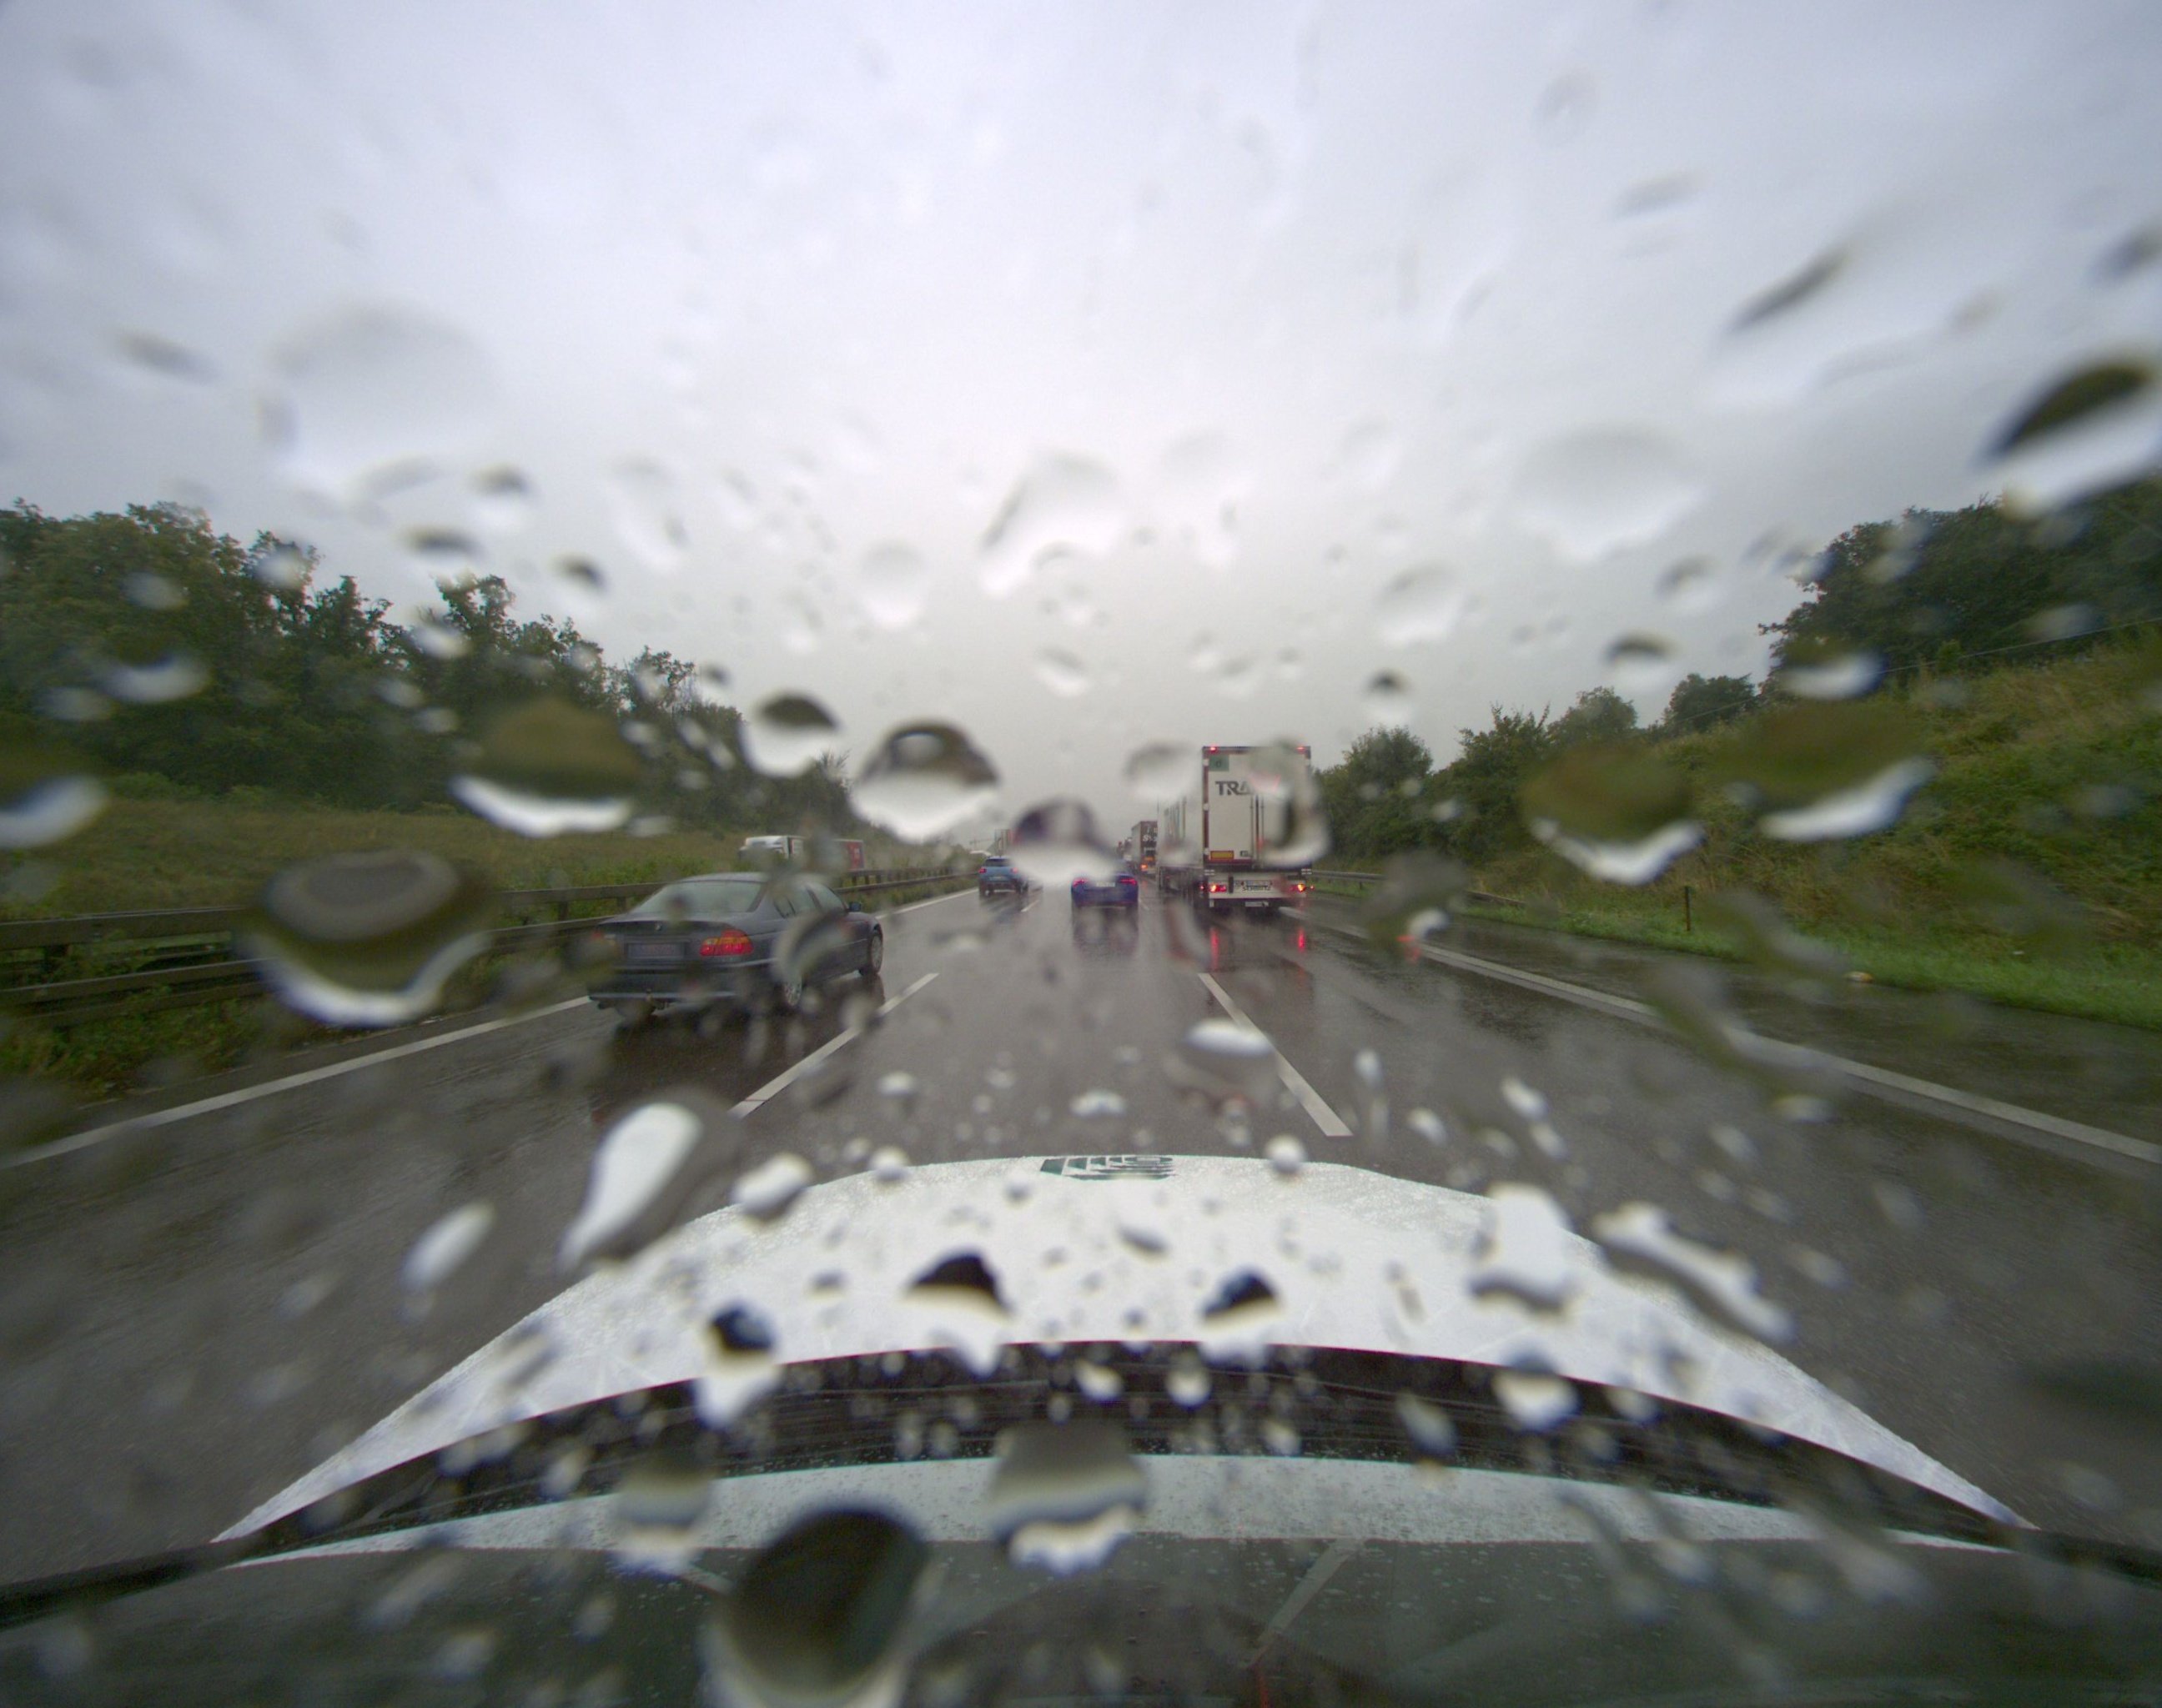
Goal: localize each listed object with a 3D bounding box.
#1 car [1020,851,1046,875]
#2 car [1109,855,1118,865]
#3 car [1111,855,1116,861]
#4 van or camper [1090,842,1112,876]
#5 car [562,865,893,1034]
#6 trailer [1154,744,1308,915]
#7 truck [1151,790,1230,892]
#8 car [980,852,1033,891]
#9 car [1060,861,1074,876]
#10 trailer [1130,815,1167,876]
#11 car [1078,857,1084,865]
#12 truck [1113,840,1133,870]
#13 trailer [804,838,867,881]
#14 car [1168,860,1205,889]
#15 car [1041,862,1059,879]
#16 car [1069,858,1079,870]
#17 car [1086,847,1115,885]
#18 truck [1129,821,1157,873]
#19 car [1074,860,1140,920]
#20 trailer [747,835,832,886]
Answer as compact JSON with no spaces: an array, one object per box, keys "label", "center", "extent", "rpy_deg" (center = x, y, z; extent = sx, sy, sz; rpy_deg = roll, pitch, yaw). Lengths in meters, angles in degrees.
[{"label":"car","center":[-3.017,0.540,51.870],"extent":[1.354,1.431,3.364],"rpy_deg":[-1,0,1]},{"label":"car","center":[5.881,1.091,147.129],"extent":[1.443,1.784,3.410],"rpy_deg":[0,-1,1]},{"label":"car","center":[9.429,1.248,235.411],"extent":[1.443,1.784,3.410],"rpy_deg":[0,-1,1]},{"label":"van or camper","center":[1.764,0.403,70.862],"extent":[1.791,2.806,4.769],"rpy_deg":[-1,0,1]},{"label":"car","center":[-3.553,0.857,9.166],"extent":[1.711,1.400,4.232],"rpy_deg":[-1,0,2]},{"label":"trailer","center":[4.202,-0.592,26.597],"extent":[2.621,4.013,14.633],"rpy_deg":[-1,0,1]},{"label":"truck","center":[4.359,-0.502,33.199],"extent":[2.621,3.827,4.792],"rpy_deg":[-1,0,1]},{"label":"car","center":[-3.097,0.707,34.502],"extent":[1.715,1.523,4.002],"rpy_deg":[-1,0,2]},{"label":"car","center":[-1.597,1.608,91.571],"extent":[1.434,1.533,3.322],"rpy_deg":[-1,0,1]},{"label":"trailer","center":[4.971,-0.577,61.532],"extent":[2.039,4.176,11.451],"rpy_deg":[-1,0,1]},{"label":"car","center":[0.002,1.693,187.604],"extent":[1.443,1.784,3.410],"rpy_deg":[0,-1,1]},{"label":"truck","center":[5.073,0.062,99.001],"extent":[1.987,3.421,8.031],"rpy_deg":[-1,0,0]},{"label":"trailer","center":[-18.893,0.399,63.266],"extent":[1.986,3.082,8.874],"rpy_deg":[-1,0,1]},{"label":"car","center":[5.105,0.955,39.704],"extent":[1.418,1.288,3.461],"rpy_deg":[-1,0,1]},{"label":"car","center":[-2.875,1.513,75.312],"extent":[1.434,1.420,3.322],"rpy_deg":[-1,0,1]},{"label":"car","center":[-1.047,1.488,122.863],"extent":[1.443,1.784,3.410],"rpy_deg":[0,-1,1]},{"label":"car","center":[0.966,0.566,39.818],"extent":[1.332,1.780,3.322],"rpy_deg":[-1,0,1]},{"label":"truck","center":[5.114,-0.561,67.254],"extent":[2.039,4.193,4.001],"rpy_deg":[-1,0,1]},{"label":"car","center":[0.715,0.921,22.294],"extent":[1.629,1.445,4.002],"rpy_deg":[-1,0,2]},{"label":"trailer","center":[-19.106,0.382,54.048],"extent":[1.986,3.082,9.557],"rpy_deg":[-1,0,1]}]
